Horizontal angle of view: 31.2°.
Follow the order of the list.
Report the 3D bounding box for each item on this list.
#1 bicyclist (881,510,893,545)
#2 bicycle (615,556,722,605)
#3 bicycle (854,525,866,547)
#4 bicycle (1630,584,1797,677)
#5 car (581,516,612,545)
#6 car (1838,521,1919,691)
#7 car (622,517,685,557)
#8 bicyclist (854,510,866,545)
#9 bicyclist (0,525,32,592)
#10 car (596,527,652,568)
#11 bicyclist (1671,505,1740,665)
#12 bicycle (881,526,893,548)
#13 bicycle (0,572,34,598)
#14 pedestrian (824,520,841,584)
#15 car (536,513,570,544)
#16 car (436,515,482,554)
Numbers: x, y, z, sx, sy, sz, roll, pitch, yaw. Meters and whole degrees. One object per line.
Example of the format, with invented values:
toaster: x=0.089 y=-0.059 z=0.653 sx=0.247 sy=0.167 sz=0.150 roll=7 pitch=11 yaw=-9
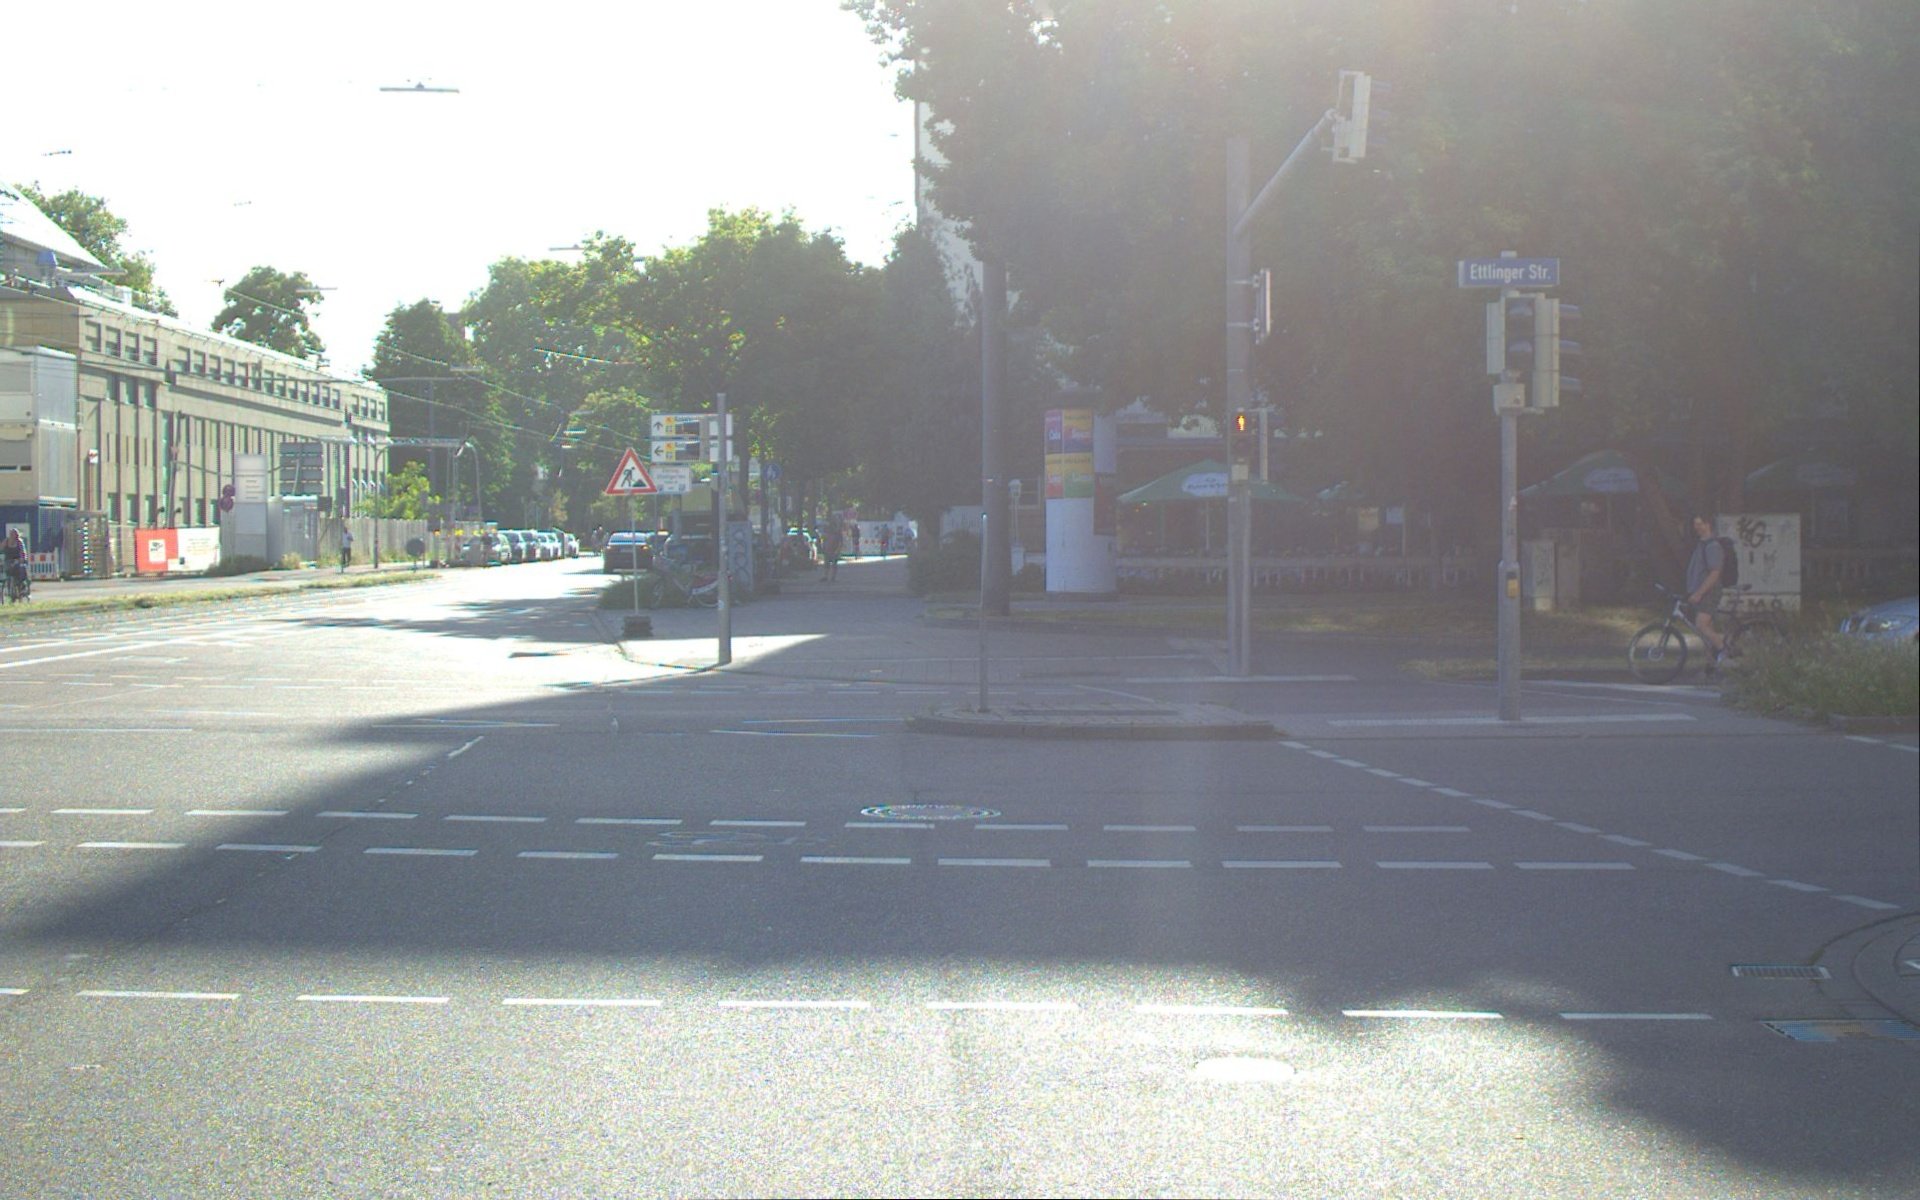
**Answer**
bicyclist: x=-3.600 y=-3.580 z=169.565 sx=0.569 sy=1.685 sz=0.700 roll=0 pitch=1 yaw=-1
bicycle: x=-5.729 y=-0.383 z=67.494 sx=2.018 sy=0.888 sz=0.650 roll=-2 pitch=0 yaw=27
bicycle: x=-4.909 y=-3.124 z=168.963 sx=0.575 sy=1.073 sz=1.831 roll=0 pitch=1 yaw=-1
bicycle: x=7.958 y=0.320 z=36.355 sx=1.667 sy=0.960 sz=0.533 roll=0 pitch=1 yaw=5
car: x=-22.160 y=-4.235 z=209.774 sx=1.692 sy=1.712 sz=4.248 roll=1 pitch=1 yaw=-4
car: x=10.758 y=0.023 z=33.426 sx=3.993 sy=1.605 sz=1.650 roll=-1 pitch=1 yaw=-1
car: x=-12.804 y=-2.655 z=143.885 sx=1.892 sy=1.560 sz=4.807 roll=3 pitch=1 yaw=3
bicyclist: x=-4.913 y=-3.563 z=168.940 sx=0.569 sy=1.685 sz=0.700 roll=0 pitch=1 yaw=-1
bicyclist: x=-19.514 y=-0.849 z=70.874 sx=0.596 sy=1.372 sz=0.638 roll=1 pitch=0 yaw=-1
car: x=-12.311 y=-1.923 z=126.162 sx=1.660 sy=1.450 sz=4.432 roll=1 pitch=1 yaw=-1
bicyclist: x=7.880 y=-0.162 z=36.345 sx=0.643 sy=1.677 sz=0.507 roll=0 pitch=1 yaw=5
bicycle: x=-3.591 y=-3.109 z=169.175 sx=0.575 sy=1.073 sz=1.831 roll=0 pitch=1 yaw=-1
bicycle: x=-19.511 y=-0.313 z=70.887 sx=0.501 sy=0.513 sz=1.258 roll=1 pitch=1 yaw=-1
pedestrian: x=-3.624 y=-1.373 z=97.651 sx=0.463 sy=1.807 sz=0.503 roll=0 pitch=1 yaw=-5
car: x=-23.023 y=-4.036 z=194.703 sx=1.692 sy=1.712 sz=4.248 roll=1 pitch=1 yaw=-4
car: x=-22.781 y=-2.970 z=156.457 sx=1.692 sy=1.712 sz=4.248 roll=1 pitch=1 yaw=-4
